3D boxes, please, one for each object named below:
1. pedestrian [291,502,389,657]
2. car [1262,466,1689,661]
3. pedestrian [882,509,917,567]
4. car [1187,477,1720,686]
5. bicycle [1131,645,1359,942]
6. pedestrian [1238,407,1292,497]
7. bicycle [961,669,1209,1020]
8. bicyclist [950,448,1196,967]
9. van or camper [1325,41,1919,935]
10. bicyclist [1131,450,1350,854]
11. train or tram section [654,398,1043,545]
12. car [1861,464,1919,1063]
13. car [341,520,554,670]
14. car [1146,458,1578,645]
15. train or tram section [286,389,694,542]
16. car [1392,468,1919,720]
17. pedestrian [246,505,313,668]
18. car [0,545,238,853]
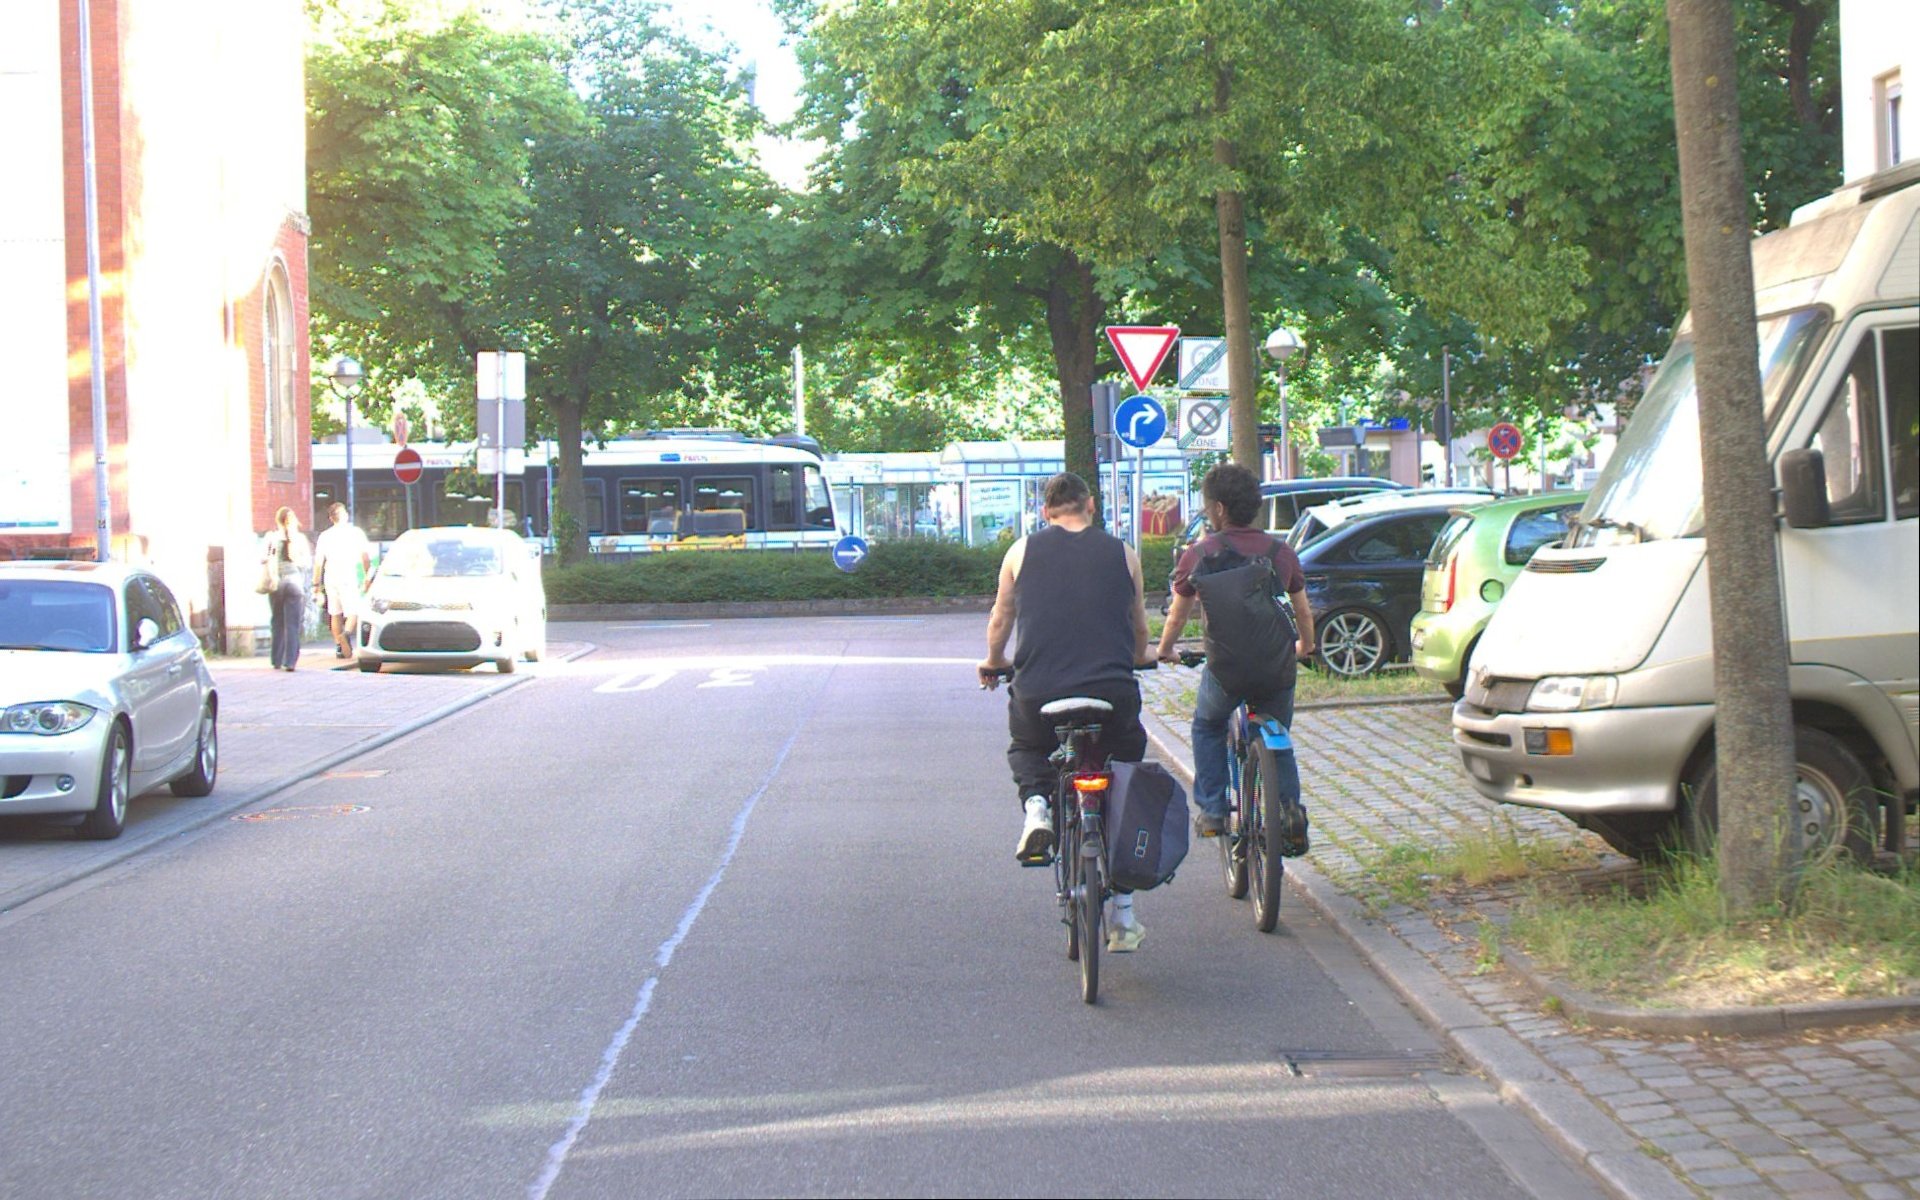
[{"bbox_3d":[-6.707,-0.229,37.228,0.867,1.637,0.860,-1,1,0],"label":"pedestrian"},{"bbox_3d":[4.663,-0.343,31.487,3.693,1.645,1.704,-1,1,3],"label":"car"},{"bbox_3d":[-1.633,-1.677,92.873,0.809,1.538,0.821,0,1,-12],"label":"pedestrian"},{"bbox_3d":[4.056,-0.172,28.724,4.104,1.407,1.792,-4,1,0],"label":"car"},{"bbox_3d":[1.102,0.725,13.707,0.674,1.050,2.061,-1,0,-1],"label":"bicycle"},{"bbox_3d":[5.831,-2.821,65.699,0.916,1.678,0.780,-1,1,10],"label":"pedestrian"},{"bbox_3d":[0.389,0.782,11.707,0.737,1.008,2.061,1,1,-1],"label":"bicycle"},{"bbox_3d":[0.370,0.341,11.700,0.752,1.676,0.913,-2,1,0],"label":"bicyclist"},{"bbox_3d":[5.162,-0.504,13.341,7.075,3.067,2.465,-2,1,-3],"label":"van or camper"},{"bbox_3d":[1.091,0.192,13.559,0.671,1.509,1.069,-2,0,-4],"label":"bicyclist"},{"bbox_3d":[-2.538,-2.911,78.848,8.415,3.190,2.862,0,1,-23],"label":"train or tram section"},{"bbox_3d":[4.451,0.306,8.339,3.963,1.593,1.903,-4,1,2],"label":"car"},{"bbox_3d":[-5.381,-0.092,36.487,1.705,1.480,3.797,1,1,0],"label":"car"},{"bbox_3d":[4.162,-0.532,36.004,4.105,1.707,2.025,-3,2,-5],"label":"car"},{"bbox_3d":[-10.314,-2.913,75.582,8.415,3.166,2.862,0,1,-23],"label":"train or tram section"},{"bbox_3d":[4.878,-0.072,23.428,3.589,1.500,1.678,-3,2,0],"label":"car"},{"bbox_3d":[-6.819,-0.145,34.476,0.599,1.599,0.855,-2,1,-11],"label":"pedestrian"},{"bbox_3d":[-5.186,0.460,18.856,1.744,1.461,4.104,-1,1,-3],"label":"car"}]
